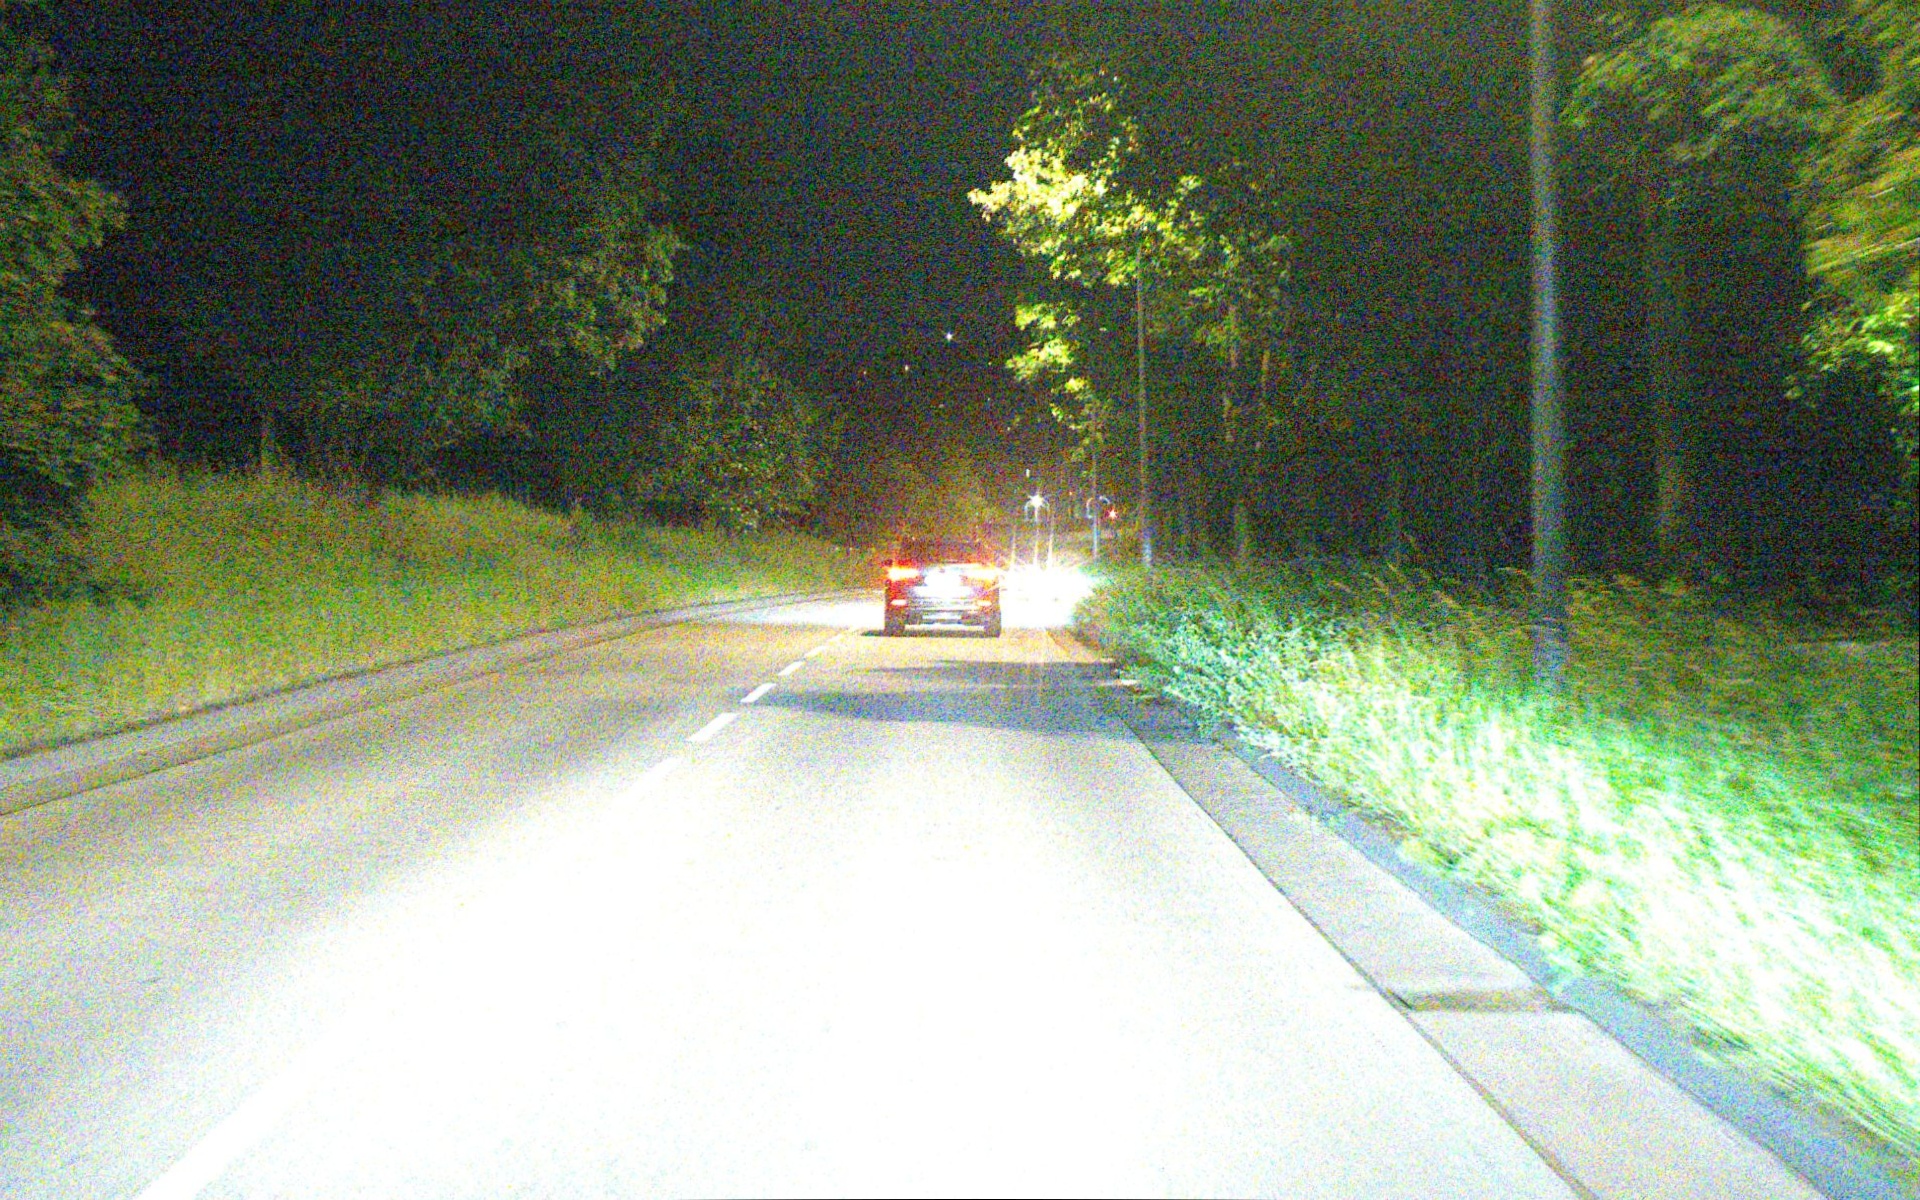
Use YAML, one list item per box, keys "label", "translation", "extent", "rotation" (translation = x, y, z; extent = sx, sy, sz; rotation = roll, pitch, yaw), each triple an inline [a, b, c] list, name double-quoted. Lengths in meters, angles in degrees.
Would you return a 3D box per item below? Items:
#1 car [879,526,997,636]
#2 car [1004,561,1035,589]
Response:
- label: "car"
  translation: [-0.362, -0.314, 54.158]
  extent: [1.763, 1.636, 3.723]
  rotation: [1, 1, -1]
- label: "car"
  translation: [3.285, -1.365, 189.700]
  extent: [1.687, 1.452, 4.000]
  rotation: [2, 0, 1]
